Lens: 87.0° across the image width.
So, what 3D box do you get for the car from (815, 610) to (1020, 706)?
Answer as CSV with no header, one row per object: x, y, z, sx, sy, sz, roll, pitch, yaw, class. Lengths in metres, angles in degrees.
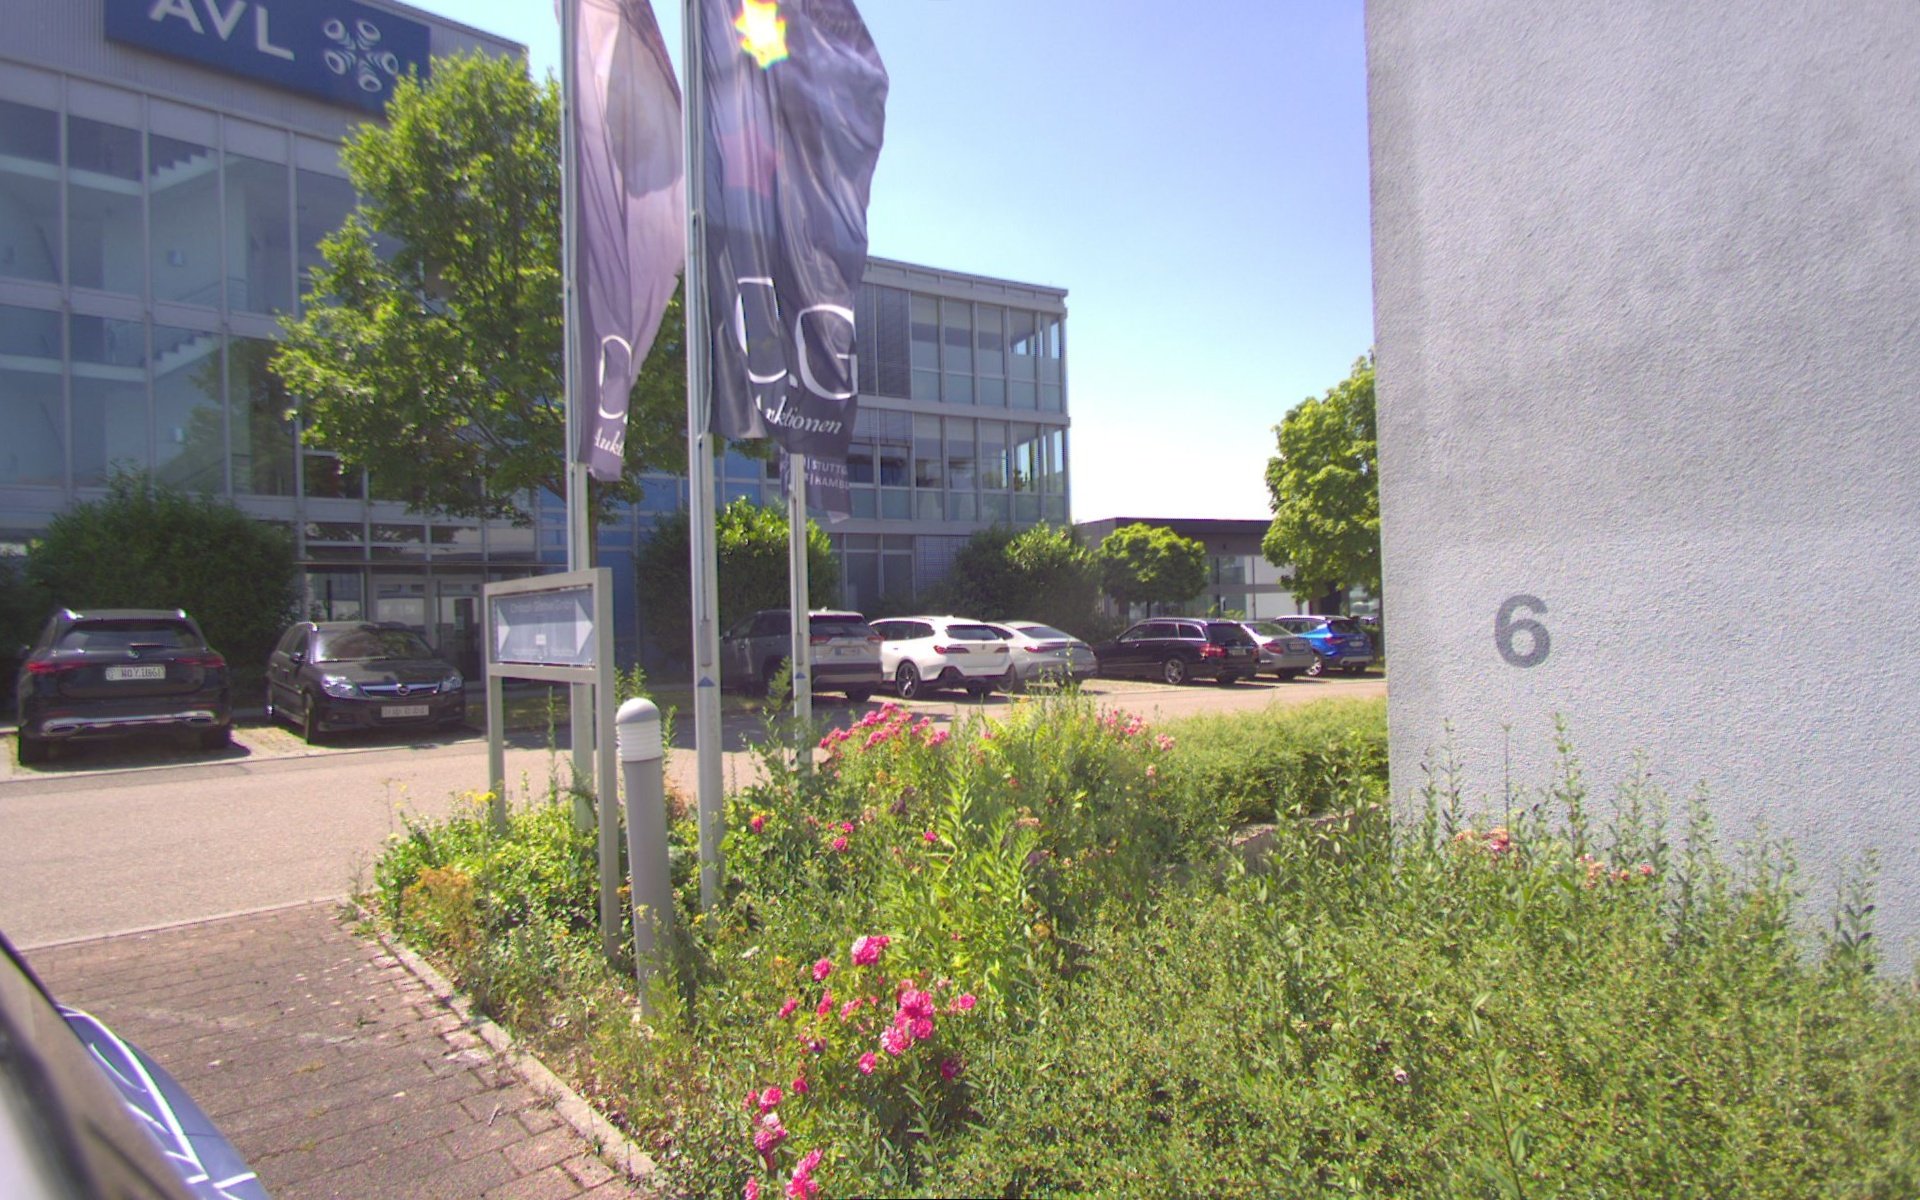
-0.927,1.046,19.626,1.805,1.650,4.178,1,-2,-40,car

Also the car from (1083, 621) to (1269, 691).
4.894,1.225,23.467,1.723,1.435,4.182,1,-1,-34,car

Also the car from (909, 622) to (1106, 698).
0.889,1.184,21.143,1.725,1.411,4.178,1,-2,-40,car

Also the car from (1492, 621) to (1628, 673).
17.490,1.329,29.634,1.522,1.435,3.099,0,-1,-23,car

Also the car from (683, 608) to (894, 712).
-3.199,1.009,18.285,1.805,1.650,4.176,1,-2,-42,car

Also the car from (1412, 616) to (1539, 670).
14.958,1.221,29.509,1.522,1.435,3.009,0,0,-23,car

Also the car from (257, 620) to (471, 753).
-8.257,1.047,13.822,1.704,1.495,4.402,0,-1,-42,car

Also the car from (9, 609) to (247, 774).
-9.983,0.940,12.039,1.911,1.615,3.863,1,-2,-43,car

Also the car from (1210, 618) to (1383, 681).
8.750,1.235,26.666,1.723,1.435,4.183,0,0,-32,car

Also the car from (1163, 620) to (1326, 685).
6.964,1.238,25.241,1.722,1.435,4.185,0,-1,-21,car
